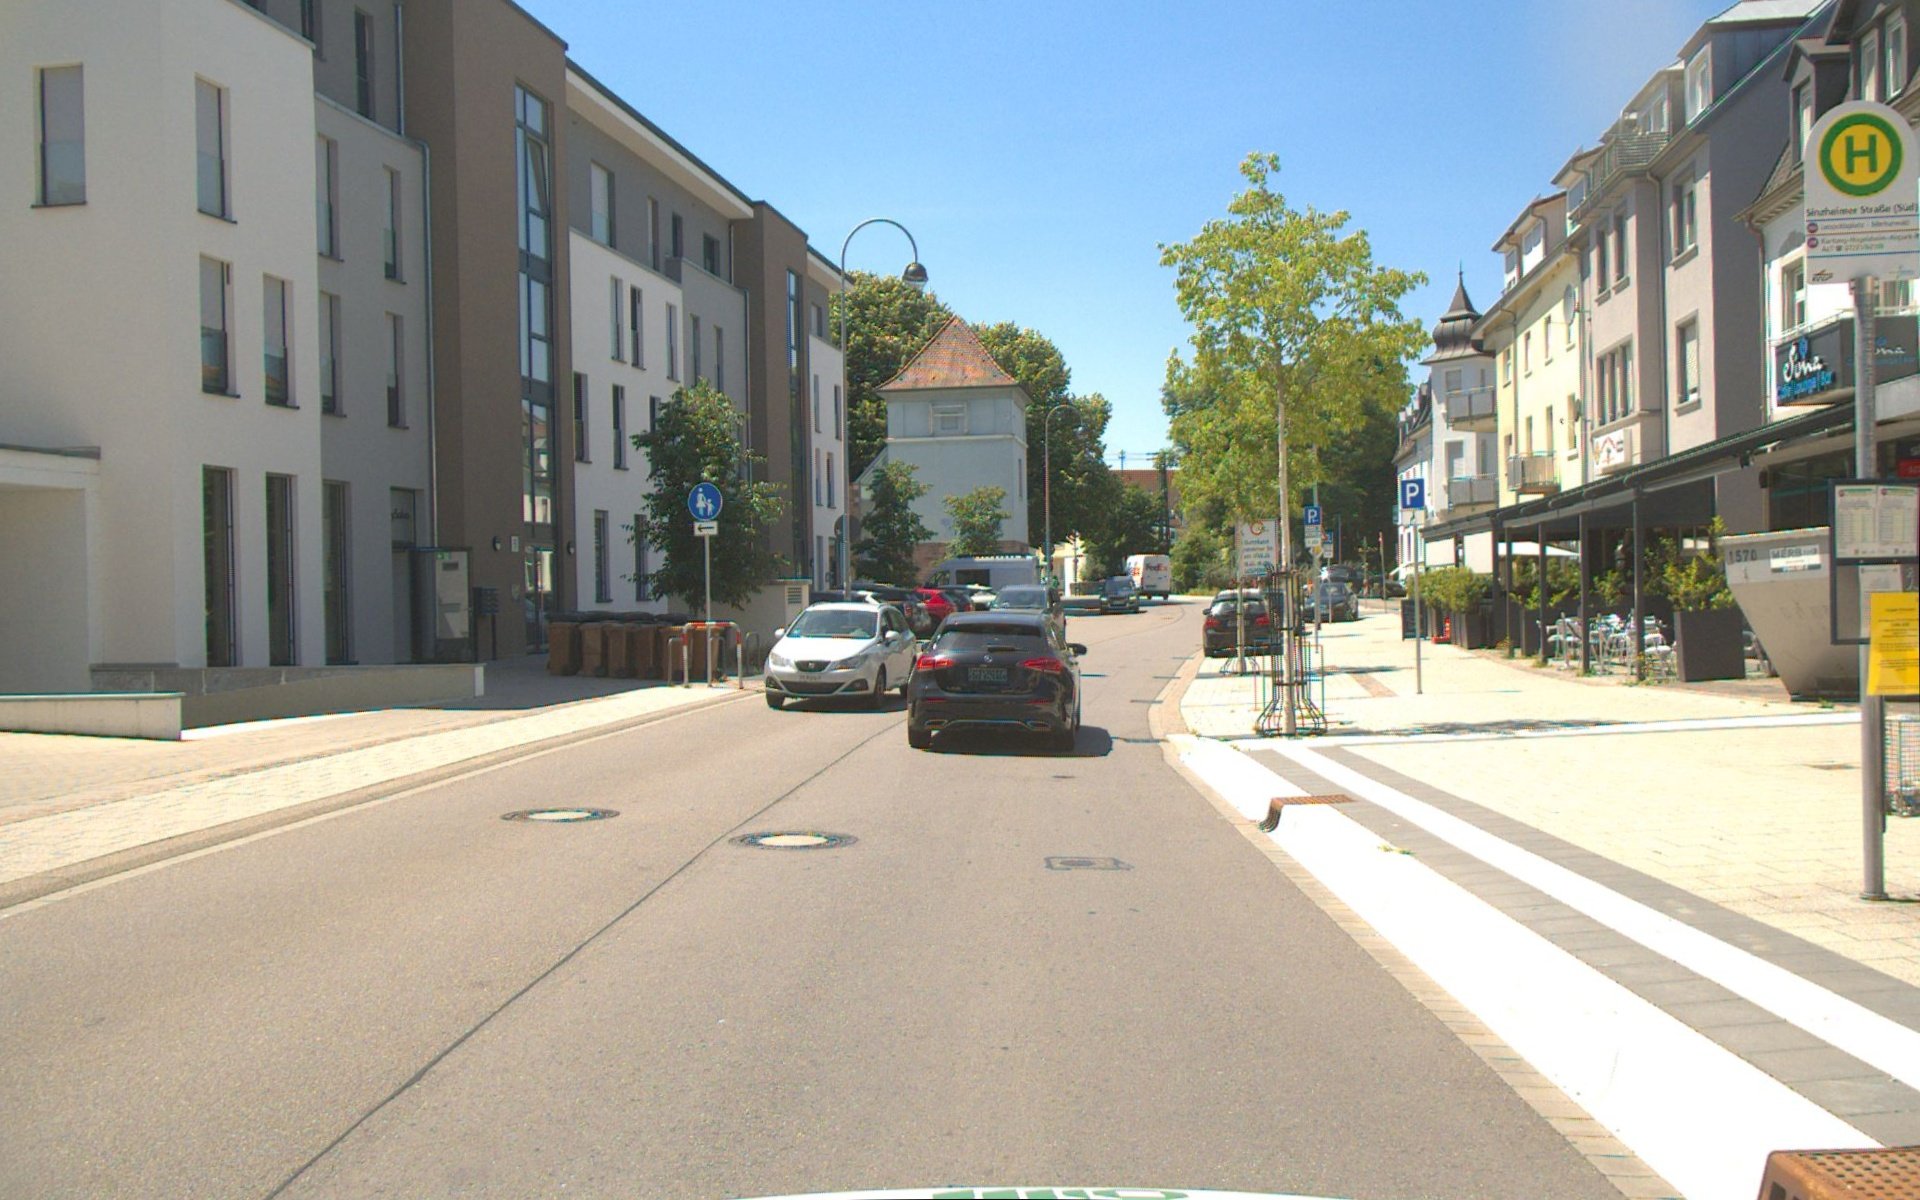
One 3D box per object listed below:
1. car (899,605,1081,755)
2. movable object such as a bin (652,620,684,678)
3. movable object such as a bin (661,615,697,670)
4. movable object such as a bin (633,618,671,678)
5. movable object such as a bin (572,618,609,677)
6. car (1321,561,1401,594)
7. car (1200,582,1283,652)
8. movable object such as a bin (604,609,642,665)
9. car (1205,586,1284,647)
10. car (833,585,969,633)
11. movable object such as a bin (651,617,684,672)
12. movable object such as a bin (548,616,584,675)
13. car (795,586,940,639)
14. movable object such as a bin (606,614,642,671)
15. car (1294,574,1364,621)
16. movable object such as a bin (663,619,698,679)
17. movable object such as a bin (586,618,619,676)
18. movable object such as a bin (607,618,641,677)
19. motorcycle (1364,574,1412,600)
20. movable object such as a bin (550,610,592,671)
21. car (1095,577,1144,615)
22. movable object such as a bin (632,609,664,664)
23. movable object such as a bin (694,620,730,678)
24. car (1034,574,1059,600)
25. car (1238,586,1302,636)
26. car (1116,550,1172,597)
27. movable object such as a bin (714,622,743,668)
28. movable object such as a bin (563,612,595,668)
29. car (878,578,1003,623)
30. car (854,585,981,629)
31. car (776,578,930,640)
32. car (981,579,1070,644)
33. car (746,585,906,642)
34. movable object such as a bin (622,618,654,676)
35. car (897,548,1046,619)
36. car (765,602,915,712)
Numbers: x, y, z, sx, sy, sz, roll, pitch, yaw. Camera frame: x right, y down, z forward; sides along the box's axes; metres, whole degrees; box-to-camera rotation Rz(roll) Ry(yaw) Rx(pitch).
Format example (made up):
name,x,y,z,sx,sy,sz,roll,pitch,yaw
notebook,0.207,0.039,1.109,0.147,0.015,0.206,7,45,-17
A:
name,x,y,z,sx,sy,sz,roll,pitch,yaw
car,0.447,0.810,18.622,1.789,1.467,4.002,1,0,4
movable object such as a bin,-5.195,0.871,29.475,0.394,1.015,0.556,-1,0,8
movable object such as a bin,-5.404,0.810,31.819,0.542,1.038,0.561,-1,0,5
movable object such as a bin,-5.399,0.838,28.993,0.472,1.015,0.588,-1,0,9
movable object such as a bin,-6.459,0.827,28.913,0.472,1.015,0.527,-1,0,8
car,21.339,-1.189,88.093,3.988,1.746,1.858,0,0,8
car,6.810,0.388,39.723,1.793,1.508,4.099,-3,-1,11
movable object such as a bin,-6.494,0.704,31.870,0.663,1.057,0.603,-1,0,-7
car,7.926,0.432,45.785,1.701,1.512,4.057,-3,0,15
car,-1.840,0.257,52.273,3.946,1.455,2.002,0,1,12
movable object such as a bin,-5.479,0.833,31.026,0.543,1.015,0.404,-2,0,-4
movable object such as a bin,-7.030,0.804,29.528,0.473,1.015,0.588,-1,0,3
car,-2.743,0.339,49.658,3.946,1.523,2.002,0,0,12
movable object such as a bin,-6.351,0.796,31.242,0.608,1.057,0.581,-1,0,-7
car,13.976,-0.113,62.478,1.834,1.517,3.861,-2,2,23
movable object such as a bin,-4.872,0.844,28.826,0.473,1.015,0.588,-1,0,3
movable object such as a bin,-6.379,0.832,29.530,0.394,1.015,0.556,-1,0,8
movable object such as a bin,-5.915,0.832,29.123,0.415,1.015,0.524,-1,0,9
motorcycle,21.870,-0.650,84.543,2.326,1.297,0.857,0,1,9
movable object such as a bin,-7.287,0.754,31.009,0.679,1.114,0.646,-1,0,-7
car,7.467,-0.189,77.068,1.772,1.731,4.079,0,0,13
movable object such as a bin,-6.141,0.709,32.556,0.565,1.057,0.549,-1,0,-7
movable object such as a bin,-4.419,0.867,29.465,0.472,1.015,0.588,-1,0,8
car,7.185,-1.060,137.158,1.952,2.049,4.001,1,0,2
car,9.792,0.319,51.969,1.687,1.429,4.613,-2,0,14
car,10.925,-1.543,98.650,2.088,2.676,5.267,0,0,-9
movable object such as a bin,-4.603,0.887,32.879,0.543,0.883,0.481,-1,0,-7
movable object such as a bin,-7.359,0.767,31.952,0.543,1.057,0.481,-1,0,-7
car,-0.708,0.005,61.859,4.358,1.619,2.002,0,0,10
car,-1.423,0.228,56.470,4.110,1.463,1.887,0,0,6
car,-3.004,0.238,46.845,3.946,1.680,2.002,0,0,12
car,1.838,0.291,44.947,1.901,1.687,4.239,0,0,9
car,-3.563,0.339,44.383,3.902,1.446,1.912,0,0,10
movable object such as a bin,-5.778,0.843,29.684,0.394,1.015,0.556,-1,0,8
car,0.486,-0.682,66.547,5.644,2.780,2.294,0,0,11
car,-1.690,0.778,24.408,1.632,1.420,3.849,2,0,4
